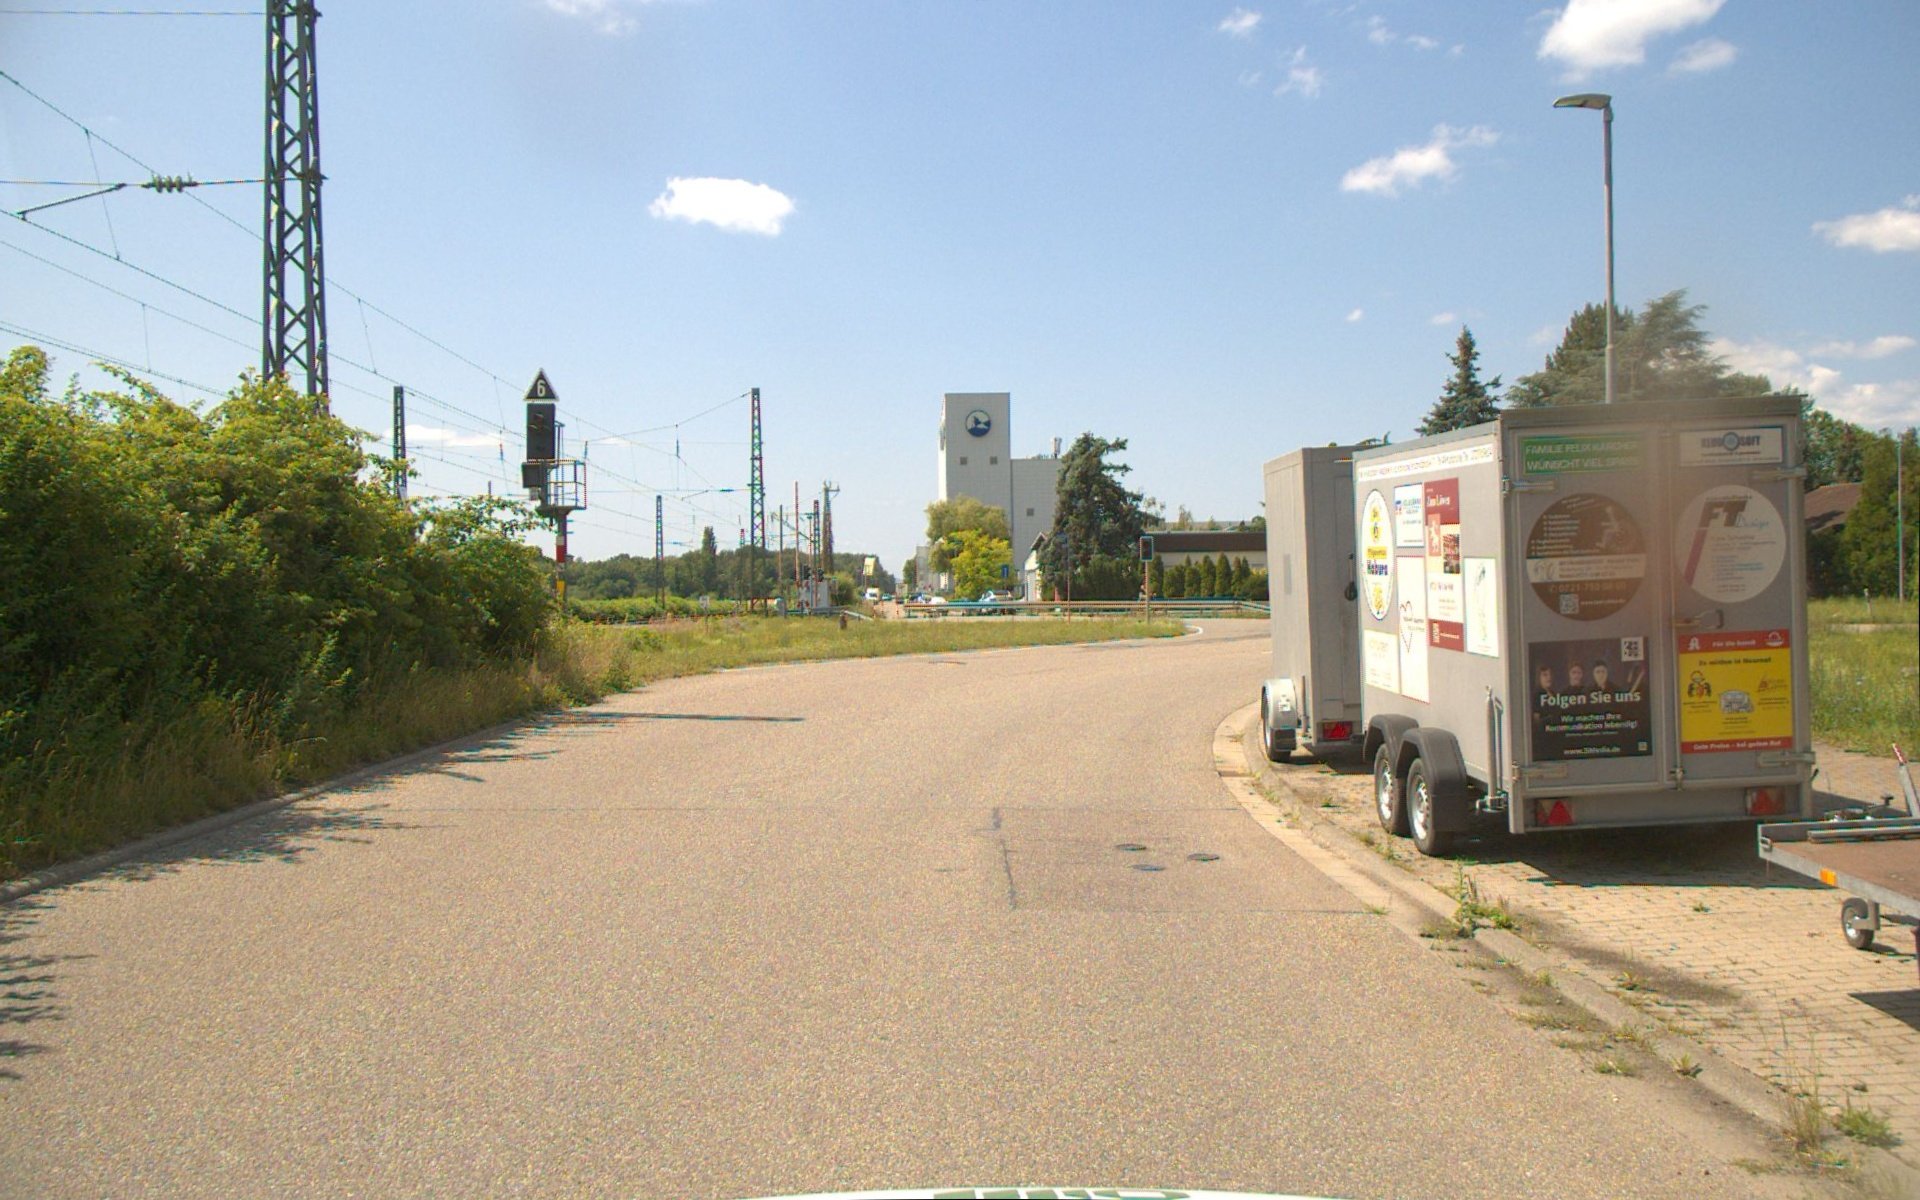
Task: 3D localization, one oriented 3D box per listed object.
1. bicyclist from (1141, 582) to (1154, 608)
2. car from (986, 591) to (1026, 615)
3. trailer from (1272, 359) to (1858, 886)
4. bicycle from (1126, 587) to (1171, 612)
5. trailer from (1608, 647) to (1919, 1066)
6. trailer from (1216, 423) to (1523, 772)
[{"bbox_3d":[9.246,-0.257,81.533,0.499,1.277,0.469,-1,0,24],"label":"bicyclist"},{"bbox_3d":[3.008,0.170,108.607,1.956,1.536,4.447,-1,0,-7],"label":"car"},{"bbox_3d":[3.512,0.094,10.740,1.880,2.552,4.740,-3,0,-1],"label":"trailer"},{"bbox_3d":[9.276,-0.023,81.540,2.096,1.185,0.661,-1,1,24],"label":"bicycle"},{"bbox_3d":[3.910,0.803,5.281,1.963,1.142,4.489,-4,0,1],"label":"trailer"},{"bbox_3d":[3.688,-0.042,15.885,1.892,2.690,5.186,-3,0,4],"label":"trailer"}]
